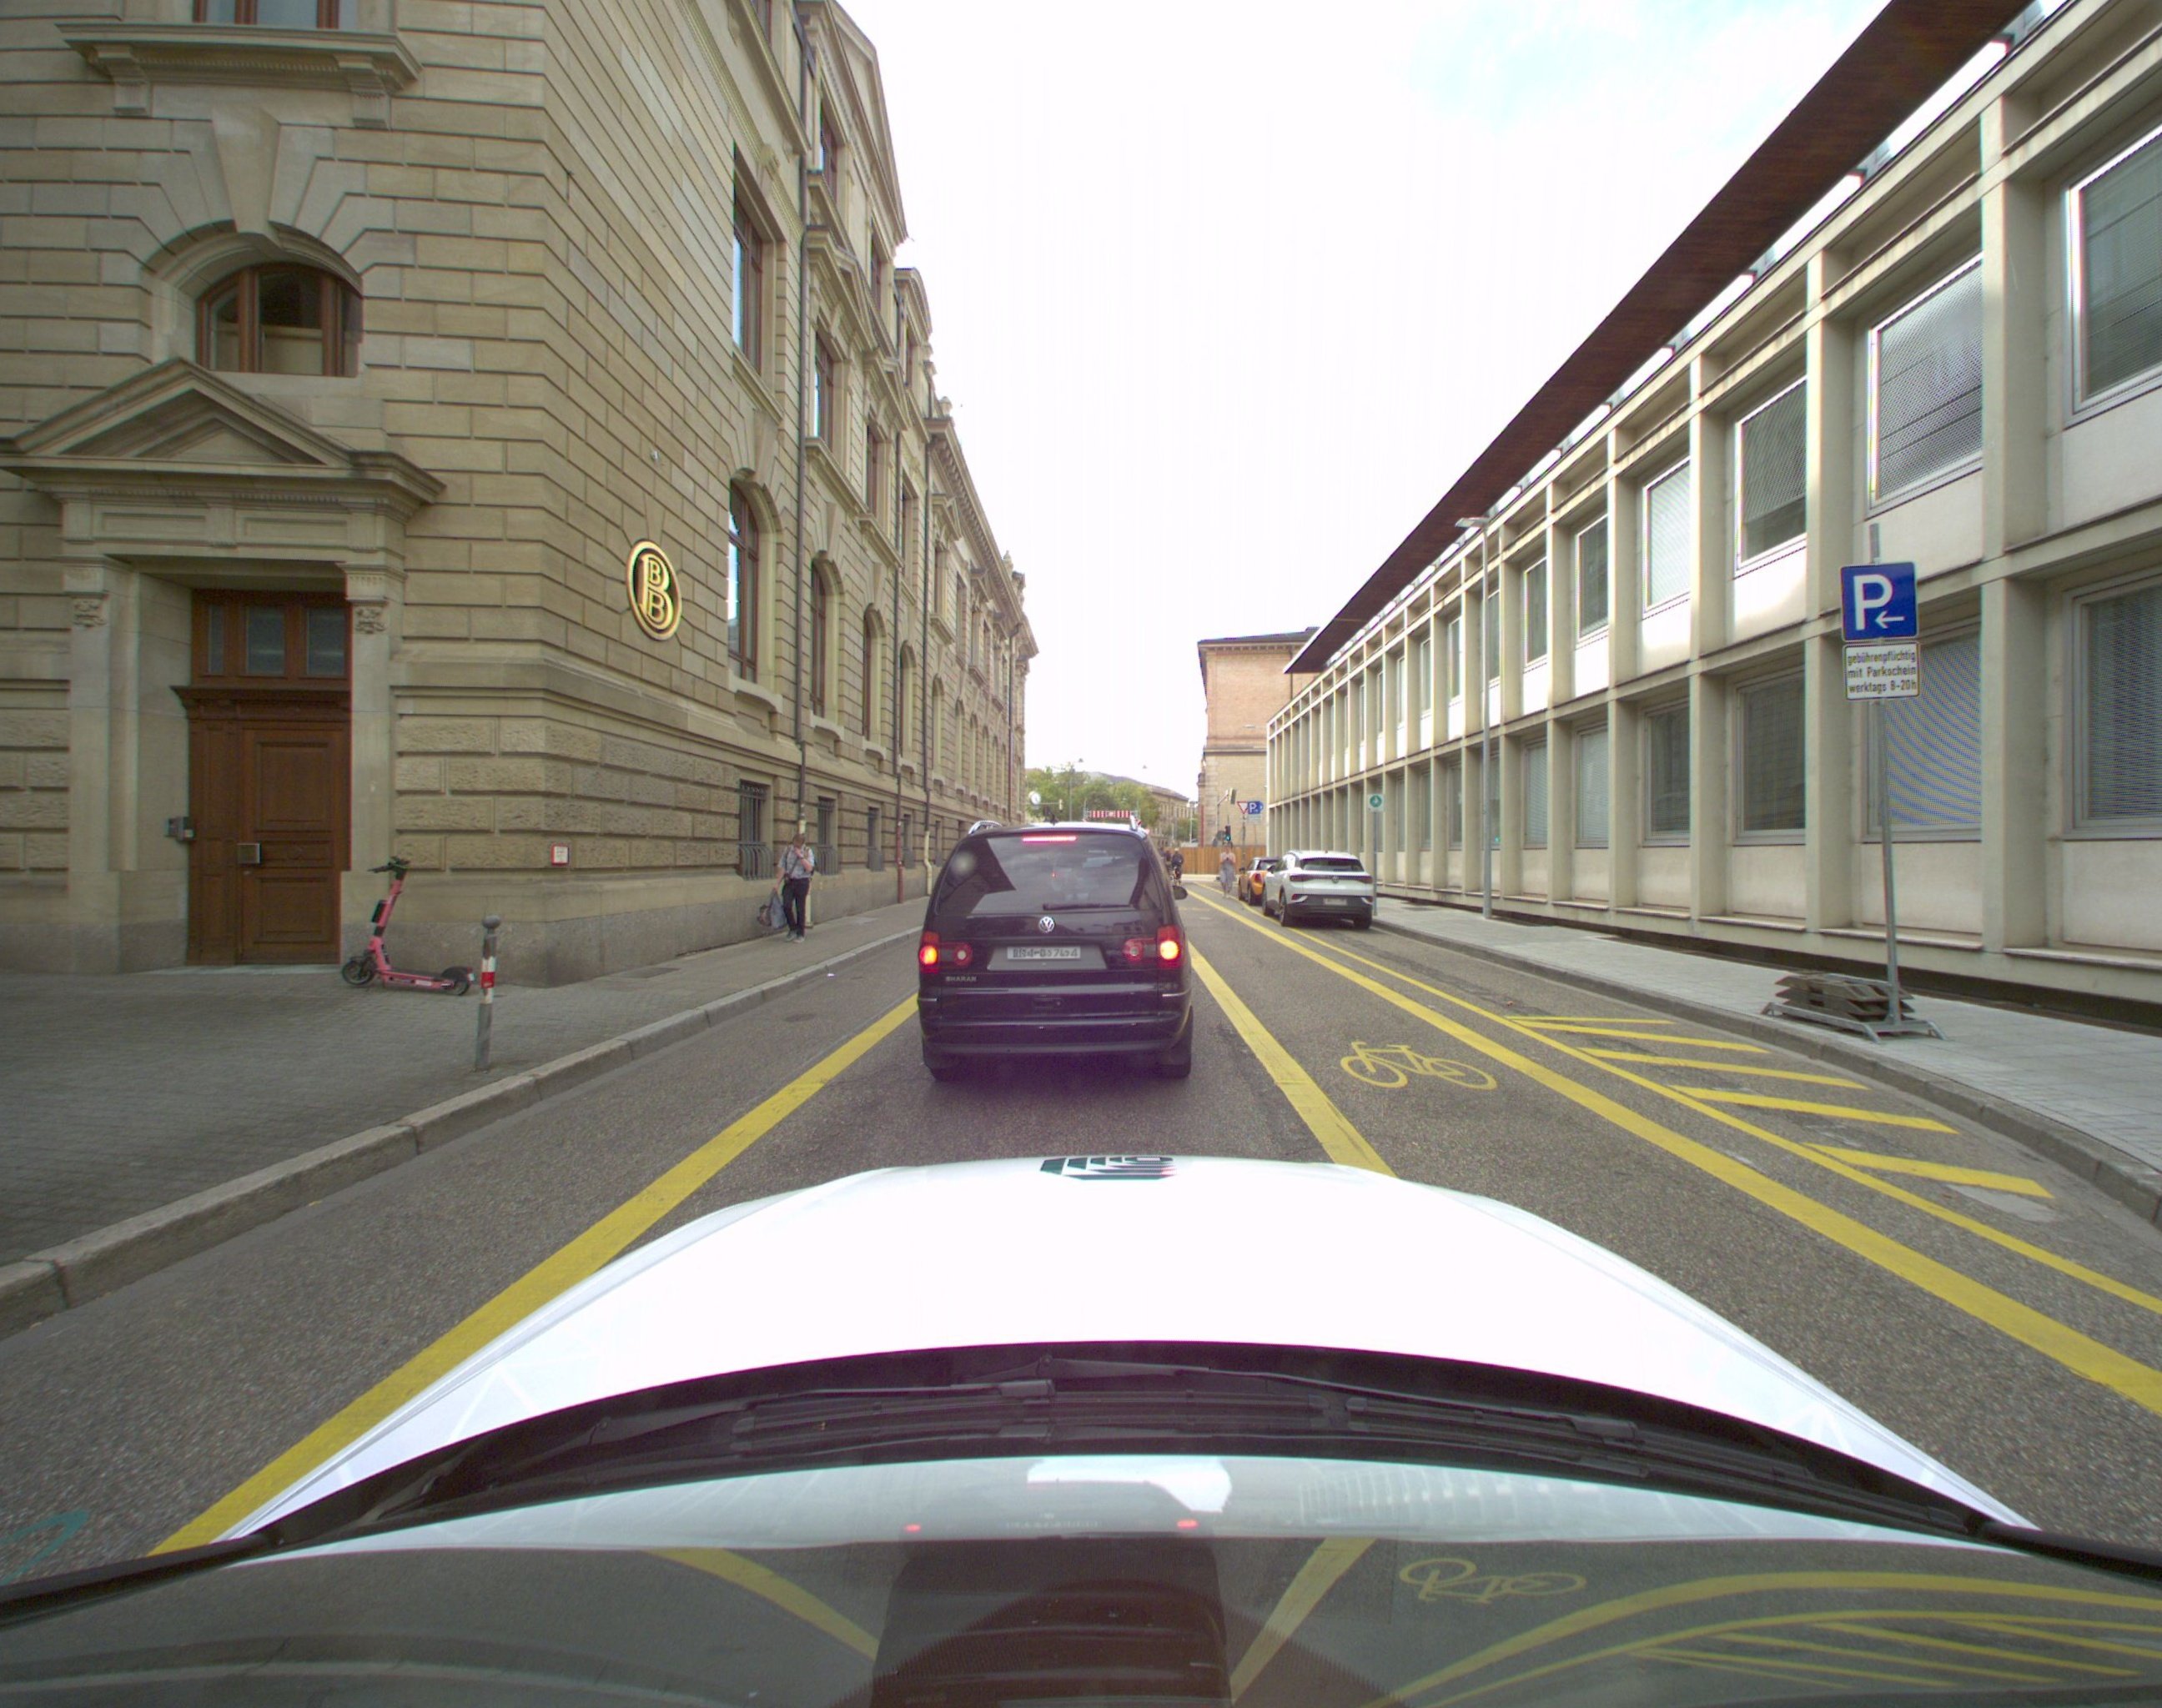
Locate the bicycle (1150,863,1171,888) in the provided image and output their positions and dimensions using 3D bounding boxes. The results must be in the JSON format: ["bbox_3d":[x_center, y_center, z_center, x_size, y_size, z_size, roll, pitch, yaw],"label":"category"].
[{"bbox_3d":[3.328,0.878,34.253,0.732,1.009,2.069,0,-1,2],"label":"bicycle"}]

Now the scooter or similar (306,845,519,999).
[{"bbox_3d":[-6.178,0.607,7.572,1.441,1.310,0.587,3,1,0],"label":"scooter or similar"}]

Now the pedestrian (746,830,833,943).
[{"bbox_3d":[-4.670,0.507,13.095,1.022,1.720,0.819,2,-1,1],"label":"pedestrian"}]

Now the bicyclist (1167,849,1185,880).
[{"bbox_3d":[4.323,0.477,37.173,0.732,1.375,0.832,0,-1,1],"label":"bicyclist"}]

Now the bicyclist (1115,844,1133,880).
[{"bbox_3d":[1.776,0.336,33.684,0.732,1.478,0.885,0,-1,1],"label":"bicyclist"}]

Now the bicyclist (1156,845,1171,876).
[{"bbox_3d":[4.275,0.329,42.202,0.732,1.555,0.896,0,-1,1],"label":"bicyclist"}]

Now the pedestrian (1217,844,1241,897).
[{"bbox_3d":[4.992,0.549,27.474,0.701,1.764,0.700,0,-1,1],"label":"pedestrian"}]

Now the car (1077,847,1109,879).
[{"bbox_3d":[0.660,0.521,47.416,1.729,1.790,4.101,0,0,-1],"label":"car"}]

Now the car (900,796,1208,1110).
[{"bbox_3d":[0.004,0.574,6.744,1.781,1.790,4.108,0,0,5],"label":"car"}]

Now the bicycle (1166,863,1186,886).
[{"bbox_3d":[4.324,0.916,37.187,0.732,1.009,2.069,0,-1,2],"label":"bicycle"}]

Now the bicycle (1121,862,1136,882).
[{"bbox_3d":[2.389,0.896,41.066,0.732,1.009,2.069,0,-1,2],"label":"bicycle"}]

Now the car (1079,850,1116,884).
[{"bbox_3d":[0.840,0.634,40.402,1.766,1.586,4.001,0,-1,2],"label":"car"}]

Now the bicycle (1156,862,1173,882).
[{"bbox_3d":[4.301,0.899,42.154,0.732,1.009,2.069,0,-1,2],"label":"bicycle"}]

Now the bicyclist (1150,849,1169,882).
[{"bbox_3d":[3.290,0.486,34.253,0.732,1.377,0.829,0,-1,1],"label":"bicyclist"}]

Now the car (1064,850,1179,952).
[{"bbox_3d":[0.756,0.690,13.841,1.670,1.469,4.108,0,0,5],"label":"car"}]

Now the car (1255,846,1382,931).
[{"bbox_3d":[5.233,0.703,18.530,1.851,1.605,4.518,3,0,5],"label":"car"}]

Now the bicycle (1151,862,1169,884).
[{"bbox_3d":[3.818,0.905,39.411,0.732,1.009,2.069,0,-1,2],"label":"bicycle"}]

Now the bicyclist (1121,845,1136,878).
[{"bbox_3d":[2.405,0.371,41.002,0.732,1.611,0.695,0,-1,1],"label":"bicyclist"}]

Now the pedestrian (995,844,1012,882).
[{"bbox_3d":[-3.769,0.426,39.677,0.661,1.819,1.048,2,-1,2],"label":"pedestrian"}]

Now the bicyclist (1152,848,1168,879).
[{"bbox_3d":[3.823,0.465,39.432,0.732,1.470,0.809,0,-1,1],"label":"bicyclist"}]

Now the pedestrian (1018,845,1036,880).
[{"bbox_3d":[-2.853,0.449,43.339,0.789,1.819,1.048,2,-1,2],"label":"pedestrian"}]

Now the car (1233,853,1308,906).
[{"bbox_3d":[5.757,0.738,25.145,1.672,1.435,3.891,3,0,5],"label":"car"}]
